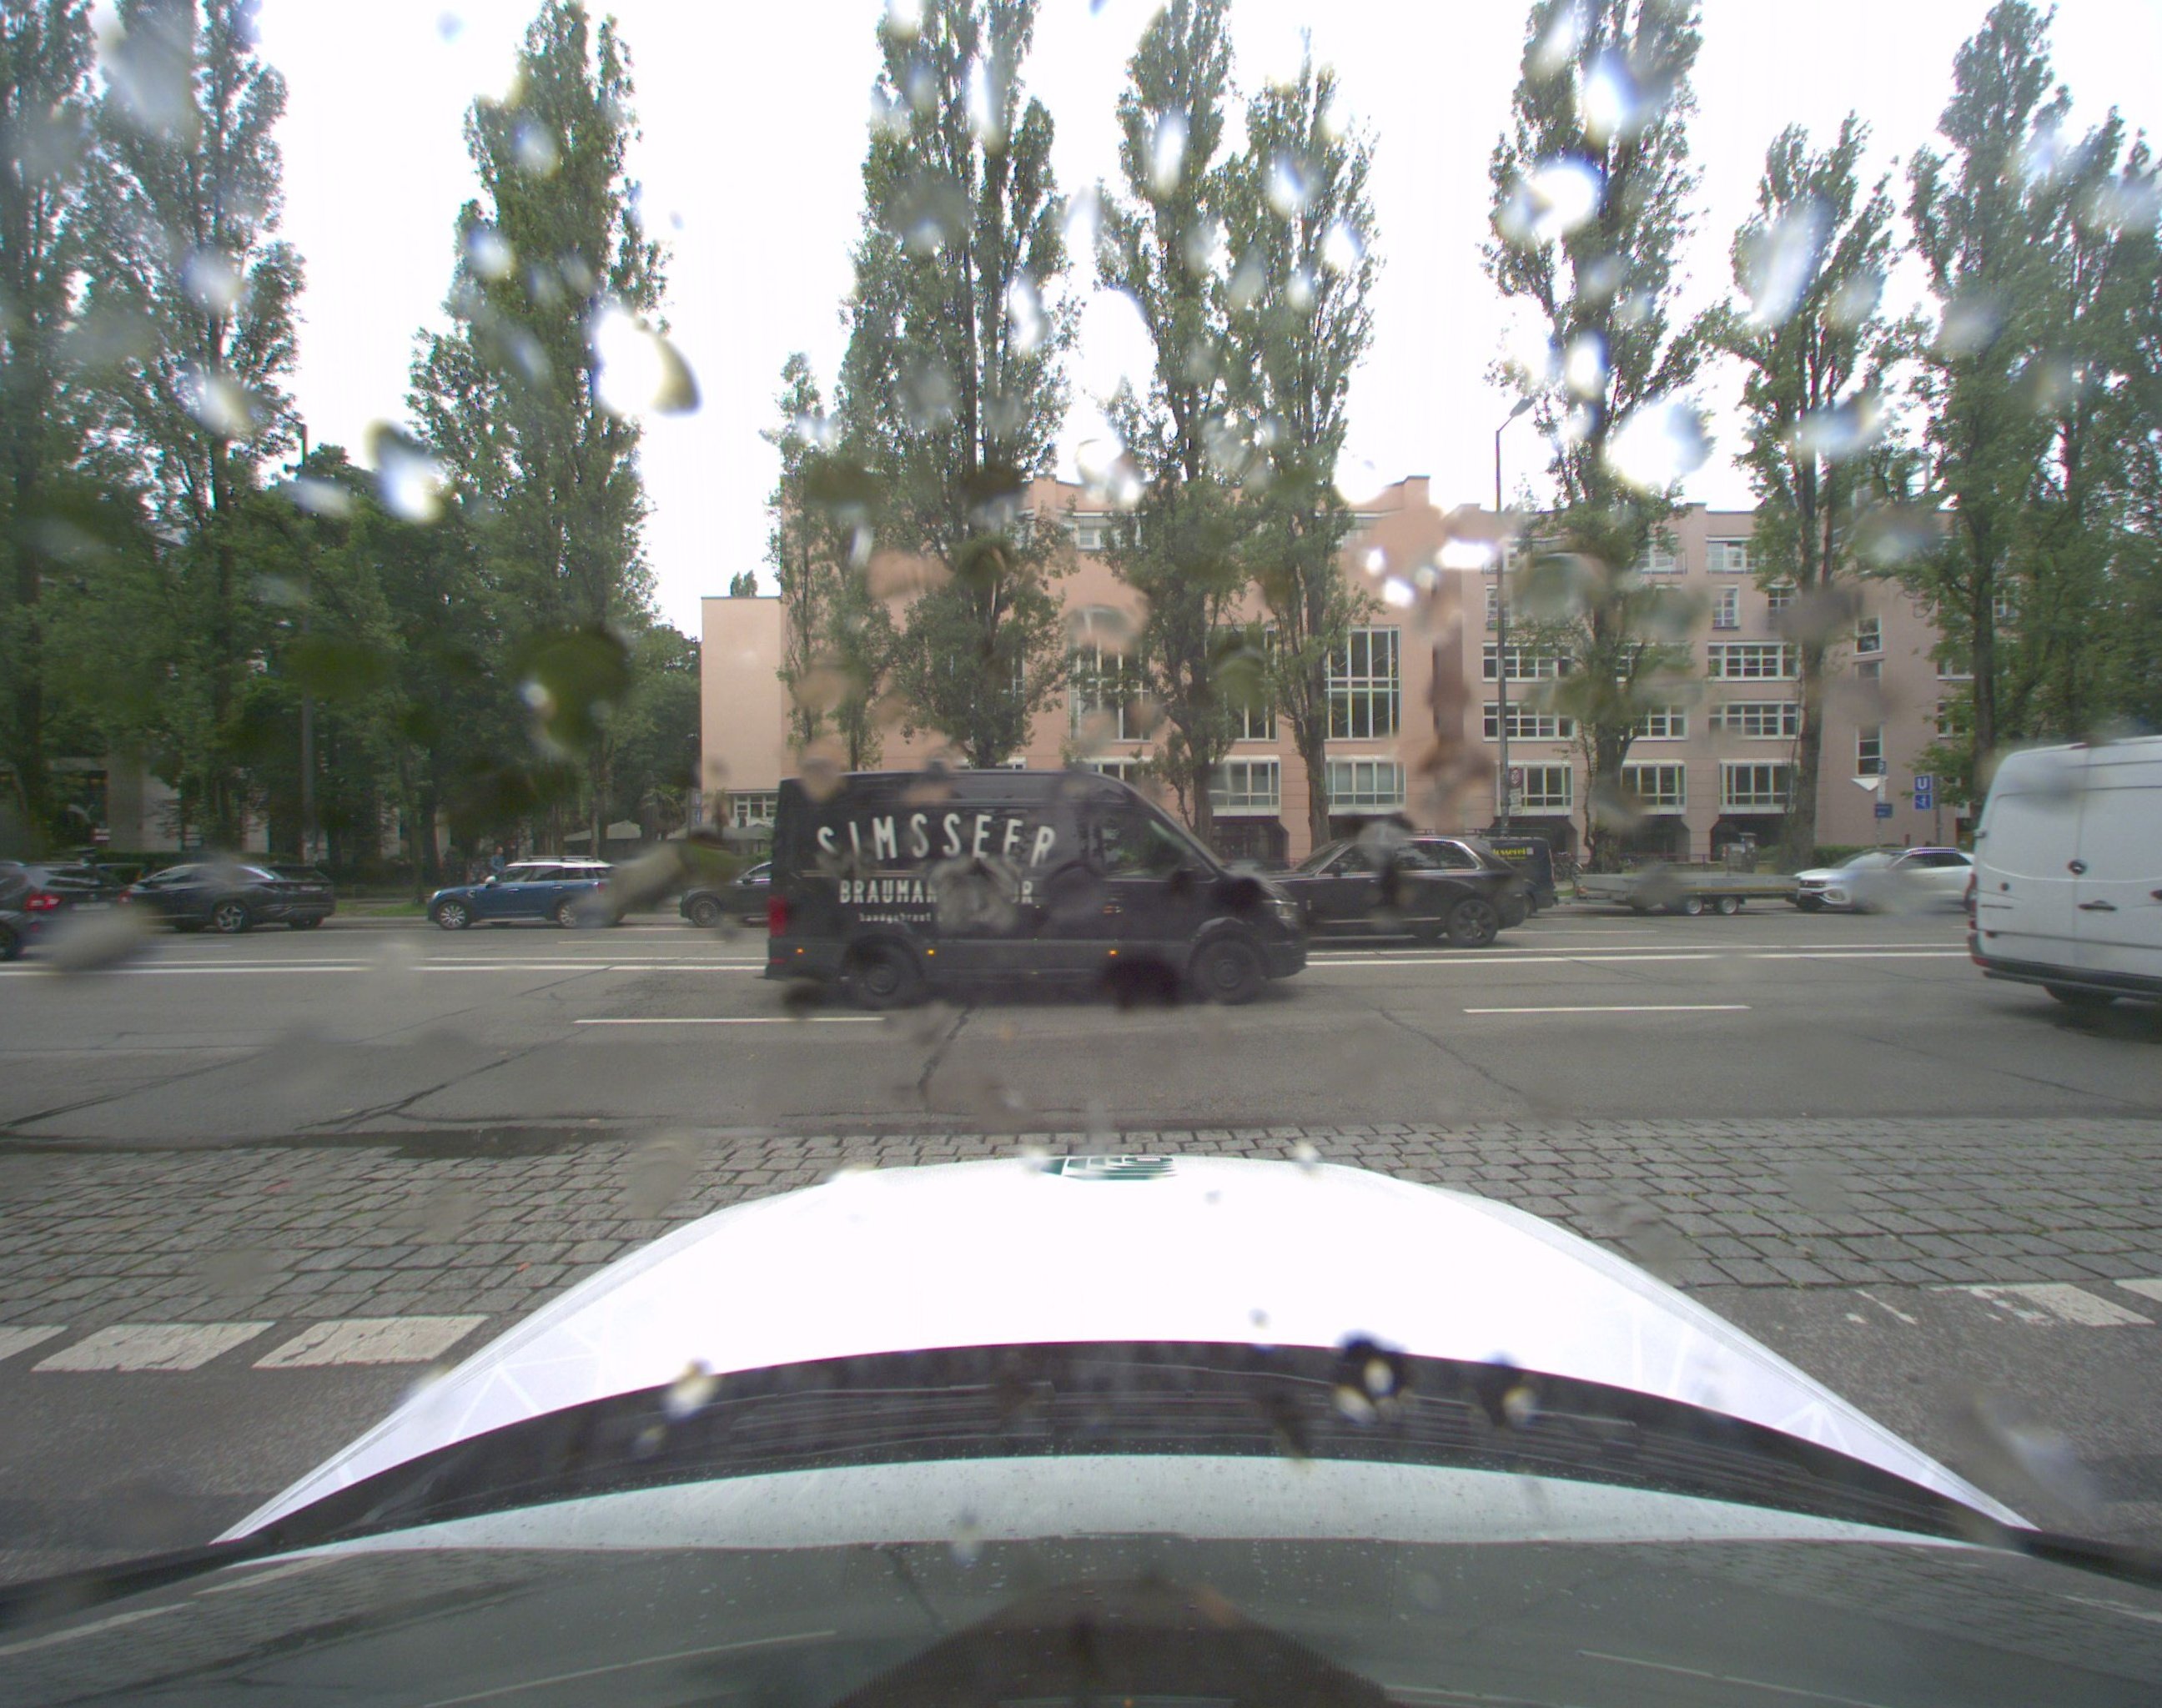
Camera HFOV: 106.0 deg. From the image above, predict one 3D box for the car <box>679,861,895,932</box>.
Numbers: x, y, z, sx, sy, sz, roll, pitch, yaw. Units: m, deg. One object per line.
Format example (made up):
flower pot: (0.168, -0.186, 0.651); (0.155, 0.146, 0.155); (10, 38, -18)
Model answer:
car: (-6.930, 0.982, 19.564); (4.486, 1.529, 1.793); (-1, 0, -1)

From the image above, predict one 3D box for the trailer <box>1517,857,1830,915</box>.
trailer: (14.352, 0.746, 20.051); (5.999, 1.199, 2.405); (-1, 0, 0)

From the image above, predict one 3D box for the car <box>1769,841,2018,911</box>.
car: (19.588, 0.530, 19.780); (4.205, 1.542, 1.807); (-1, -1, 1)

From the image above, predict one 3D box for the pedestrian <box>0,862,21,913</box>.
pedestrian: (-36.173, 1.117, 27.146); (0.727, 1.713, 0.709); (-1, 0, 0)

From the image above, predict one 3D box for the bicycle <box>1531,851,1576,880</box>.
bicycle: (19.485, 0.444, 33.621); (0.671, 1.124, 1.989); (-1, 0, 0)

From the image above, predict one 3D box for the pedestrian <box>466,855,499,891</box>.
pedestrian: (-23.331, 0.734, 31.749); (0.704, 1.355, 0.732); (-1, 0, 0)

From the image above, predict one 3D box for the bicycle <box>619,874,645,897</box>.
bicycle: (-17.030, 1.193, 30.899); (0.322, 0.798, 1.031); (-1, 0, 5)

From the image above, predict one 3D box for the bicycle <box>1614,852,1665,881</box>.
bicycle: (22.881, 0.476, 33.403); (0.671, 1.124, 2.107); (-1, 0, 0)

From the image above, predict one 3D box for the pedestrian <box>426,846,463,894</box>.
pedestrian: (-22.978, 0.561, 29.413); (0.727, 1.713, 0.709); (-1, 0, 0)

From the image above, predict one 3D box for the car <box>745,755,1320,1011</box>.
car: (-0.468, 0.257, 9.463); (5.896, 2.555, 2.082); (-1, 2, -2)

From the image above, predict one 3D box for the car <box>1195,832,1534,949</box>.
car: (4.619, 0.591, 13.791); (5.036, 1.749, 1.998); (-1, -2, -3)

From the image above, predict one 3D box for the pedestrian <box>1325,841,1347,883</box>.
pedestrian: (10.475, 0.313, 33.456); (0.704, 1.713, 0.732); (-1, 0, 2)

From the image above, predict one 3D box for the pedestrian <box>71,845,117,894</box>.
pedestrian: (-34.697, 0.534, 28.640); (0.727, 1.713, 0.709); (-1, 0, 0)

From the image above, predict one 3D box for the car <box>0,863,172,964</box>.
car: (-17.791, 0.936, 13.328); (3.727, 1.527, 1.849); (-1, -1, 0)

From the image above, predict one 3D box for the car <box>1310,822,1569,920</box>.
car: (8.609, 0.382, 19.889); (5.462, 2.197, 2.023); (-1, 0, -1)

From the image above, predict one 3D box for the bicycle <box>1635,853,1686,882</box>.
bicycle: (23.765, 0.520, 33.445); (0.671, 1.124, 1.989); (-1, 0, 0)

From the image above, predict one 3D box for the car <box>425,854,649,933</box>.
car: (-12.811, 0.899, 19.379); (4.055, 1.732, 1.792); (-1, -1, -2)

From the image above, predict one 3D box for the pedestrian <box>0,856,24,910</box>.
pedestrian: (-34.616, 0.926, 26.029); (0.727, 1.713, 0.709); (-1, 0, 0)

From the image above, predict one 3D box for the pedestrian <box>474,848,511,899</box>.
pedestrian: (-20.156, 0.671, 27.916); (0.727, 1.713, 0.709); (-1, 0, 0)

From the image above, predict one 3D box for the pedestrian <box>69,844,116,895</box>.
pedestrian: (-33.894, 0.531, 27.935); (0.727, 1.713, 0.709); (-1, 0, 0)

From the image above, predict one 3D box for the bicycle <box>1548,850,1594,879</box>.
bicycle: (20.212, 0.426, 33.630); (0.671, 1.124, 1.989); (-1, 0, 0)

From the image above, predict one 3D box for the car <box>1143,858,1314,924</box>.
car: (3.444, 0.856, 19.553); (3.846, 1.448, 1.679); (-1, 0, 2)

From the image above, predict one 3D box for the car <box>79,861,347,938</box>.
car: (-20.053, 1.016, 18.959); (4.210, 1.600, 1.793); (-1, 0, -1)

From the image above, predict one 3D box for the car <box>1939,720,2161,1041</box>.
car: (11.920, 0.137, 7.497); (6.004, 2.651, 2.046); (-1, 2, -1)
